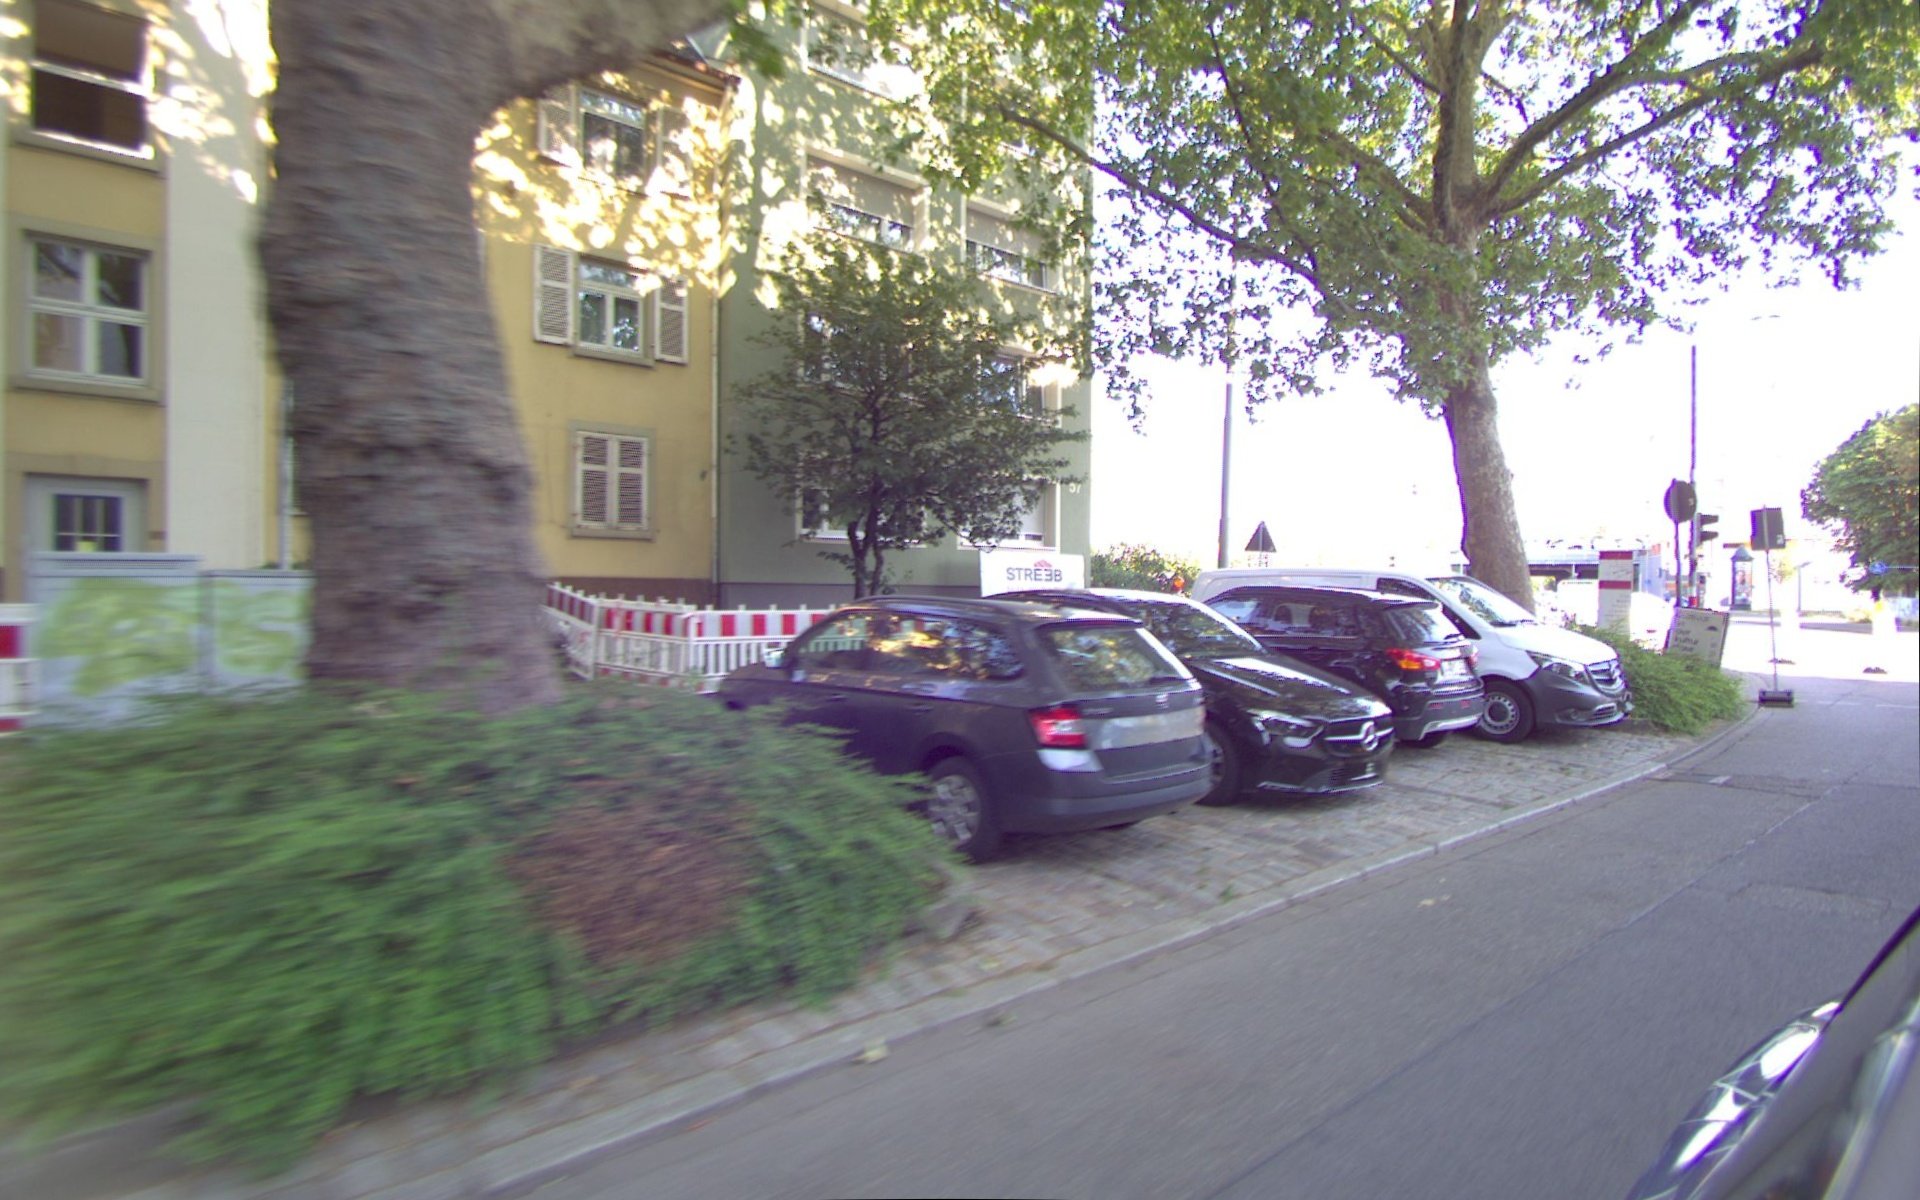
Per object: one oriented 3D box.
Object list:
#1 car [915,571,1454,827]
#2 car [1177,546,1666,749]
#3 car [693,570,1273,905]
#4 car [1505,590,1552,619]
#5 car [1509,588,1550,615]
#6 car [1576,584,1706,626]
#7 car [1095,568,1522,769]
[{"bbox_3d":[1.661,0.604,8.864,1.785,1.542,4.411,1,2,-40],"label":"car"},{"bbox_3d":[5.345,0.351,12.451,1.881,1.878,5.124,-1,4,-40],"label":"car"},{"bbox_3d":[-0.088,0.625,6.913,1.712,1.515,3.886,0,3,-43],"label":"car"},{"bbox_3d":[27.806,0.191,49.554,1.624,1.341,3.312,1,1,23],"label":"car"},{"bbox_3d":[32.289,0.043,57.416,1.624,1.440,3.312,1,1,23],"label":"car"},{"bbox_3d":[24.540,0.202,36.573,3.507,1.455,1.639,0,-2,4],"label":"car"},{"bbox_3d":[3.499,0.541,10.721,1.764,1.625,3.883,0,2,-41],"label":"car"}]
